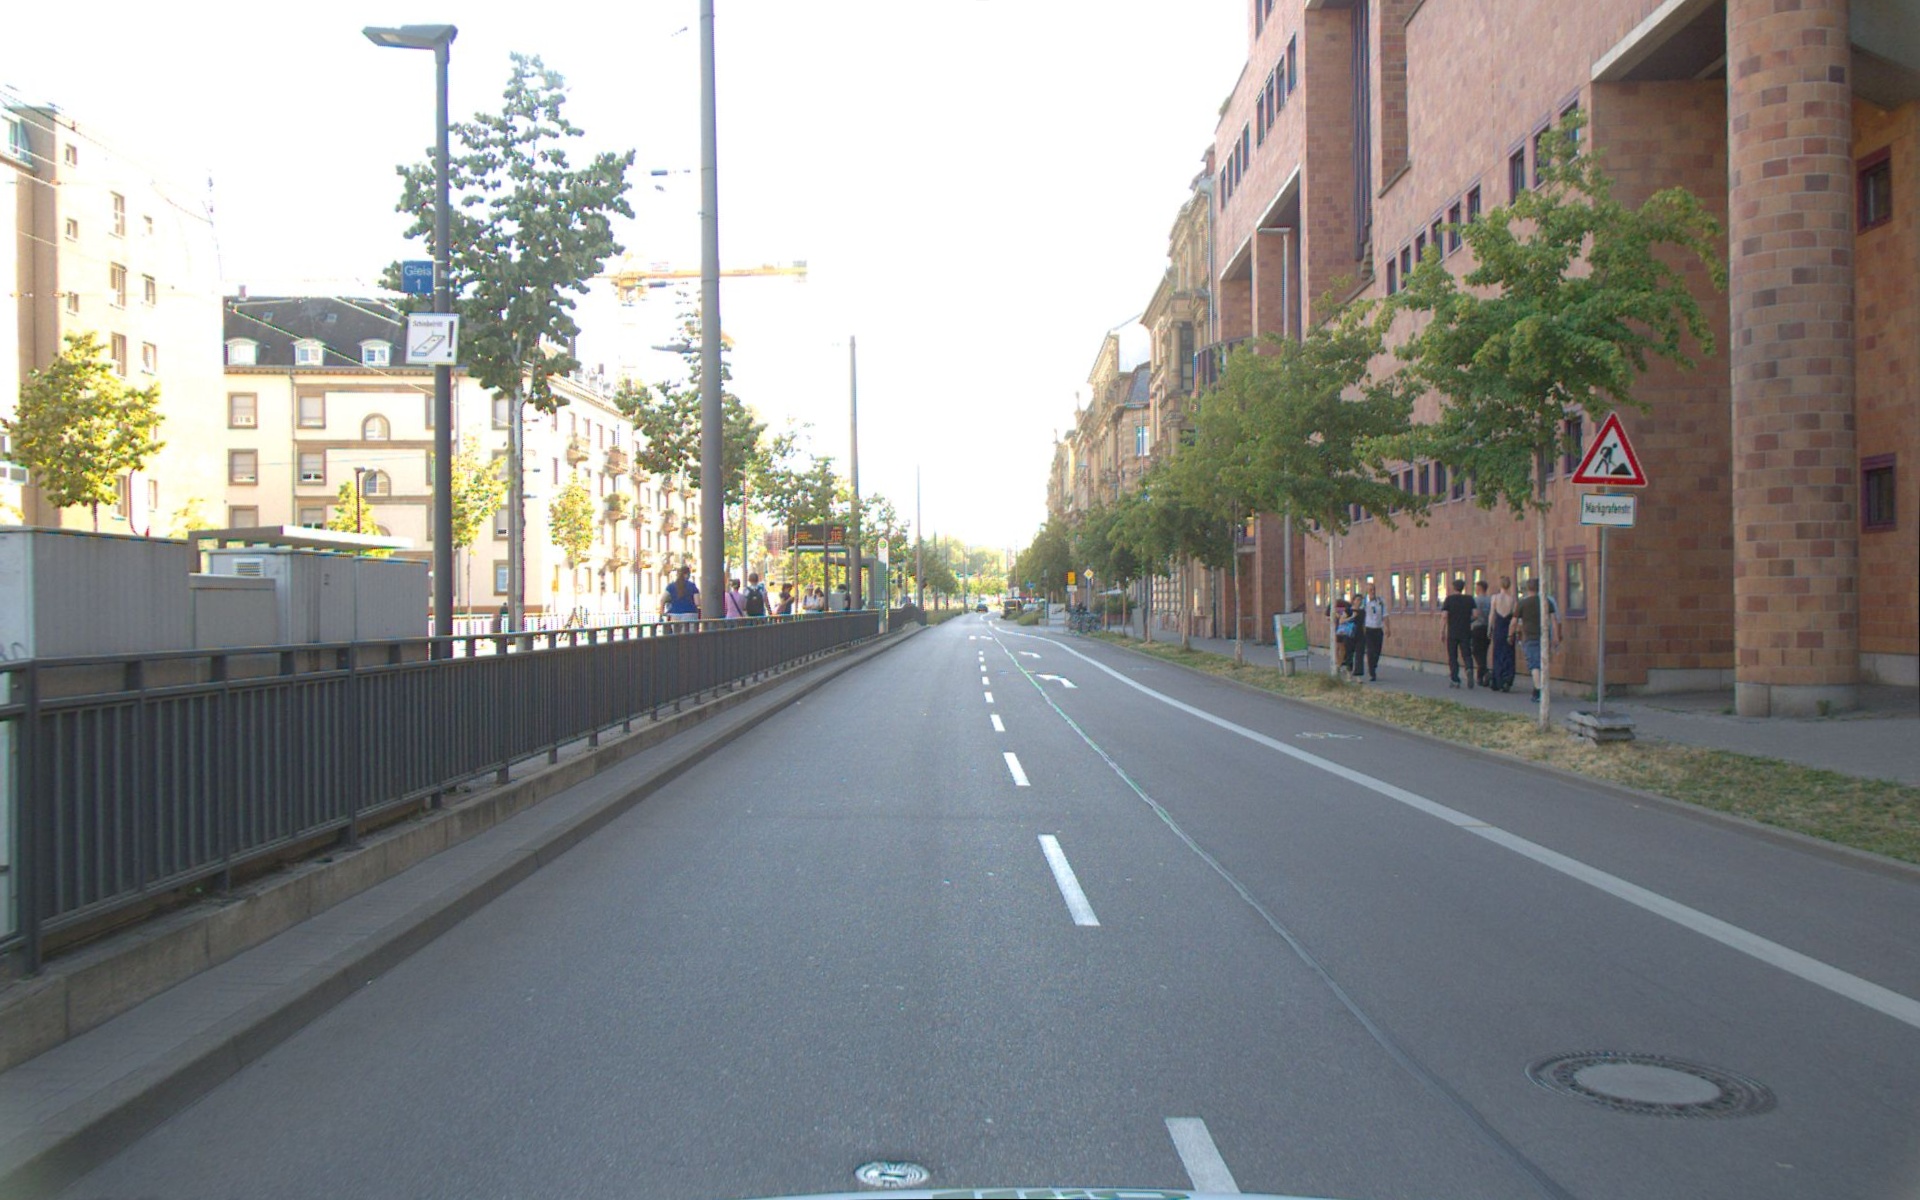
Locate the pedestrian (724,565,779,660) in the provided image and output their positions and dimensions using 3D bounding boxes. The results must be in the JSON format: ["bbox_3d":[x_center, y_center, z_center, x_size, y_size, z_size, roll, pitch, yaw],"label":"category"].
[{"bbox_3d":[-3.830,0.225,30.432,0.870,1.701,1.095,-1,0,-1],"label":"pedestrian"}]

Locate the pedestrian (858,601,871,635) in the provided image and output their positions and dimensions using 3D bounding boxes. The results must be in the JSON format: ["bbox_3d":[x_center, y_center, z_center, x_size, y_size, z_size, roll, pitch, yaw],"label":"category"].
[{"bbox_3d":[-3.358,0.627,58.258,0.399,1.211,0.428,0,0,-12],"label":"pedestrian"}]

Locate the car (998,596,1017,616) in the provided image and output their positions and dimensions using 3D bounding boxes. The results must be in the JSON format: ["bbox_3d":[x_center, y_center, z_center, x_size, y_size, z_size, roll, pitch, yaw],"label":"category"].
[{"bbox_3d":[4.849,0.597,167.683,1.846,1.971,4.475,0,1,2],"label":"car"}]

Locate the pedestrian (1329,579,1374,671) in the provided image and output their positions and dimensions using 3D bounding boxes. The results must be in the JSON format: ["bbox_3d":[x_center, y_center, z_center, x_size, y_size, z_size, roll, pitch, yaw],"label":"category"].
[{"bbox_3d":[7.046,0.449,29.755,0.507,1.633,0.702,-1,-1,-13],"label":"pedestrian"}]

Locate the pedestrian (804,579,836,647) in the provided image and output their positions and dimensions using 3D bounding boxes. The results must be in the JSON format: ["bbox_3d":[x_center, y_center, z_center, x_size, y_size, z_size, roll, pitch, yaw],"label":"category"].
[{"bbox_3d":[-3.330,0.299,39.442,0.659,1.589,0.906,-1,0,0],"label":"pedestrian"}]

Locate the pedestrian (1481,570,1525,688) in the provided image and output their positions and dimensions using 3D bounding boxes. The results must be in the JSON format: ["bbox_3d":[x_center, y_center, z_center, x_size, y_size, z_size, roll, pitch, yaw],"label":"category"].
[{"bbox_3d":[8.398,0.447,25.584,0.525,1.787,0.696,-1,0,11],"label":"pedestrian"}]

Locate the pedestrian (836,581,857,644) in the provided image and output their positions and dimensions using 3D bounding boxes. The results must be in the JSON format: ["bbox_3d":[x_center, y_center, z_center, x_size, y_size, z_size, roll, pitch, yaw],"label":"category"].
[{"bbox_3d":[-3.097,0.332,45.235,0.494,1.708,0.651,-1,0,0],"label":"pedestrian"}]

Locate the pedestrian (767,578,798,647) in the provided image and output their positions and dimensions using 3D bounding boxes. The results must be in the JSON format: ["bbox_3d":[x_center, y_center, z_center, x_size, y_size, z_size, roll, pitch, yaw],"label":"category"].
[{"bbox_3d":[-4.608,0.331,42.865,0.705,1.762,0.651,-1,0,0],"label":"pedestrian"}]

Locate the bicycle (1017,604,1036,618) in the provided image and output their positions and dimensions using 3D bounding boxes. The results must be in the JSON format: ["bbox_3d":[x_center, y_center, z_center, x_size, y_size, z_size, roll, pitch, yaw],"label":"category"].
[{"bbox_3d":[5.752,0.946,142.998,1.546,1.066,0.489,-3,0,-7],"label":"bicycle"}]

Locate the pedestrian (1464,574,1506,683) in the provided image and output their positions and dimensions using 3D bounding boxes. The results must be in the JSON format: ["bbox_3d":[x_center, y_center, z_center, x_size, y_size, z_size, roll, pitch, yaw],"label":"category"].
[{"bbox_3d":[8.657,0.466,27.292,0.525,1.787,0.422,-1,0,0],"label":"pedestrian"}]

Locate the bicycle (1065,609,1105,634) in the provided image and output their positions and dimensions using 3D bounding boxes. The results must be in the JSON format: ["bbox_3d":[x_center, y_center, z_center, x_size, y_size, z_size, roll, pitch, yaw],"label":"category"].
[{"bbox_3d":[6.103,1.048,80.839,1.790,1.083,0.663,-4,1,-5],"label":"bicycle"}]

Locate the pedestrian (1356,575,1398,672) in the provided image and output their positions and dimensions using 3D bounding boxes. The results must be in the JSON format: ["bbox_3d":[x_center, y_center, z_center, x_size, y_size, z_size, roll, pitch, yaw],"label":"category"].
[{"bbox_3d":[7.650,0.427,30.354,0.560,1.743,0.640,-1,-1,-5],"label":"pedestrian"}]

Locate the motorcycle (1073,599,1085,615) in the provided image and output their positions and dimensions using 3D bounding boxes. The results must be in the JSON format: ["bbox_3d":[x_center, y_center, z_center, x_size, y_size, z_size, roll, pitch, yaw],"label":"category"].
[{"bbox_3d":[10.467,0.637,145.909,0.778,1.331,2.852,-3,1,0],"label":"motorcycle"}]

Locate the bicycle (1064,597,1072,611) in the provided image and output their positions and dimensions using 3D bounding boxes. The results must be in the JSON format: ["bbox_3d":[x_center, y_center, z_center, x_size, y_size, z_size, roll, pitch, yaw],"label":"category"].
[{"bbox_3d":[11.341,0.379,174.086,0.647,1.427,2.352,-1,1,0],"label":"bicycle"}]

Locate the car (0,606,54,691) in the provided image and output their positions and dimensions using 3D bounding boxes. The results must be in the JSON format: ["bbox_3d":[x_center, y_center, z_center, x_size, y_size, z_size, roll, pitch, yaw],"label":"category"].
[{"bbox_3d":[-22.936,1.158,37.834,1.846,1.899,4.318,-1,1,3],"label":"car"}]

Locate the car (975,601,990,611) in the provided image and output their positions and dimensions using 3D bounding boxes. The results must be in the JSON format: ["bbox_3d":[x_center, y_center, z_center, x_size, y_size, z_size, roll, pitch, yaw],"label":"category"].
[{"bbox_3d":[3.427,0.975,252.556,1.759,1.489,4.003,-1,0,7],"label":"car"}]

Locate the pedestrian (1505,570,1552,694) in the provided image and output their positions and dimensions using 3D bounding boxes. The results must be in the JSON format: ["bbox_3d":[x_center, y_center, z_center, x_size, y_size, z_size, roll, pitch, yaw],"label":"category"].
[{"bbox_3d":[8.363,0.466,24.354,0.525,1.787,0.696,-1,0,11],"label":"pedestrian"}]

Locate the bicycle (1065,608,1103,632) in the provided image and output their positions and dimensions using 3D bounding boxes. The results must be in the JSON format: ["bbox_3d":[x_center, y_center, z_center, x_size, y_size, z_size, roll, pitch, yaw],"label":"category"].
[{"bbox_3d":[6.261,1.003,83.595,1.790,1.083,0.663,-4,1,-5],"label":"bicycle"}]

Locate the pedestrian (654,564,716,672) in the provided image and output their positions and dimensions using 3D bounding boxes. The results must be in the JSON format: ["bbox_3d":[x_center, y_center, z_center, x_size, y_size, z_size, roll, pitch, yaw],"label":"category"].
[{"bbox_3d":[-4.438,0.290,26.712,0.870,1.701,0.672,-1,0,-1],"label":"pedestrian"}]

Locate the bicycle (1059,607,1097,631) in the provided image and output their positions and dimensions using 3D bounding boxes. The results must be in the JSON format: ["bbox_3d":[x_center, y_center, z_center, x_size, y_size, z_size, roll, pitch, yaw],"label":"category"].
[{"bbox_3d":[6.060,0.985,85.070,1.790,1.083,0.663,-4,1,-5],"label":"bicycle"}]

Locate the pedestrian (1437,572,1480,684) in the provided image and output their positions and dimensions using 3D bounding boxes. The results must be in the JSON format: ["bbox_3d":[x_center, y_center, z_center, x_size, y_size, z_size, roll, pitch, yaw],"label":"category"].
[{"bbox_3d":[8.058,0.447,26.747,0.525,1.787,0.465,-1,0,-1],"label":"pedestrian"}]

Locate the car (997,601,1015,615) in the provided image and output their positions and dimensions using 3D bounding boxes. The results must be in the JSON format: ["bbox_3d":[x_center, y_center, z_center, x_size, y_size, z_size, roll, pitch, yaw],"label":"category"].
[{"bbox_3d":[5.045,0.869,180.918,1.811,1.483,4.158,-1,1,2],"label":"car"}]

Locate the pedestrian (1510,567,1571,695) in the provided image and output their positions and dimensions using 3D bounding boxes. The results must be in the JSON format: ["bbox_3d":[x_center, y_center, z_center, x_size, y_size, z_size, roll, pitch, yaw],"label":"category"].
[{"bbox_3d":[8.210,0.434,23.423,0.717,1.787,0.696,-1,0,14],"label":"pedestrian"}]

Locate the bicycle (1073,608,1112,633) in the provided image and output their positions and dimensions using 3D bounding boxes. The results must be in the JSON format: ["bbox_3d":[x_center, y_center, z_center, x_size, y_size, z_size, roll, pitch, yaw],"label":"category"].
[{"bbox_3d":[6.566,1.018,82.207,1.790,1.083,0.663,-4,1,-5],"label":"bicycle"}]

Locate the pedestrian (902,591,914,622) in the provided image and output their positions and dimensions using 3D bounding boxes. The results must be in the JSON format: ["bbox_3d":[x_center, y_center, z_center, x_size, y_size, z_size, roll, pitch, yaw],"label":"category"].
[{"bbox_3d":[-2.887,0.354,91.699,0.641,1.672,0.867,0,-1,1],"label":"pedestrian"}]

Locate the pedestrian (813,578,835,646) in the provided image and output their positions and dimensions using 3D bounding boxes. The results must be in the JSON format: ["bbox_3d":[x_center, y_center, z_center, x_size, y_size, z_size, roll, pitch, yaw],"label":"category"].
[{"bbox_3d":[-3.554,0.304,43.170,0.494,1.762,0.651,-1,0,0],"label":"pedestrian"}]

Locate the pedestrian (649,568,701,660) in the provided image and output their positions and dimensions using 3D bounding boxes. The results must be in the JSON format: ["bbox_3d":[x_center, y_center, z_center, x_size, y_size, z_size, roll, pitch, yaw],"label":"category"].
[{"bbox_3d":[-4.758,0.236,27.642,0.668,1.509,0.829,-1,0,3],"label":"pedestrian"}]

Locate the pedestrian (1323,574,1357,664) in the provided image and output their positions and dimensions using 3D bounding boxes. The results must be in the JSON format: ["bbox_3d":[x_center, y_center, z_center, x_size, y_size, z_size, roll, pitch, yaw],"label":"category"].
[{"bbox_3d":[7.619,0.386,33.182,0.526,1.787,0.421,-1,0,-5],"label":"pedestrian"}]

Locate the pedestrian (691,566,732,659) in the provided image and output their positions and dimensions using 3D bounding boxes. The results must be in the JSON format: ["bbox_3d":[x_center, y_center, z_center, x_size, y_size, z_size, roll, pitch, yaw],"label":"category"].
[{"bbox_3d":[-4.602,0.234,30.654,0.643,1.701,0.672,-1,0,-1],"label":"pedestrian"}]
